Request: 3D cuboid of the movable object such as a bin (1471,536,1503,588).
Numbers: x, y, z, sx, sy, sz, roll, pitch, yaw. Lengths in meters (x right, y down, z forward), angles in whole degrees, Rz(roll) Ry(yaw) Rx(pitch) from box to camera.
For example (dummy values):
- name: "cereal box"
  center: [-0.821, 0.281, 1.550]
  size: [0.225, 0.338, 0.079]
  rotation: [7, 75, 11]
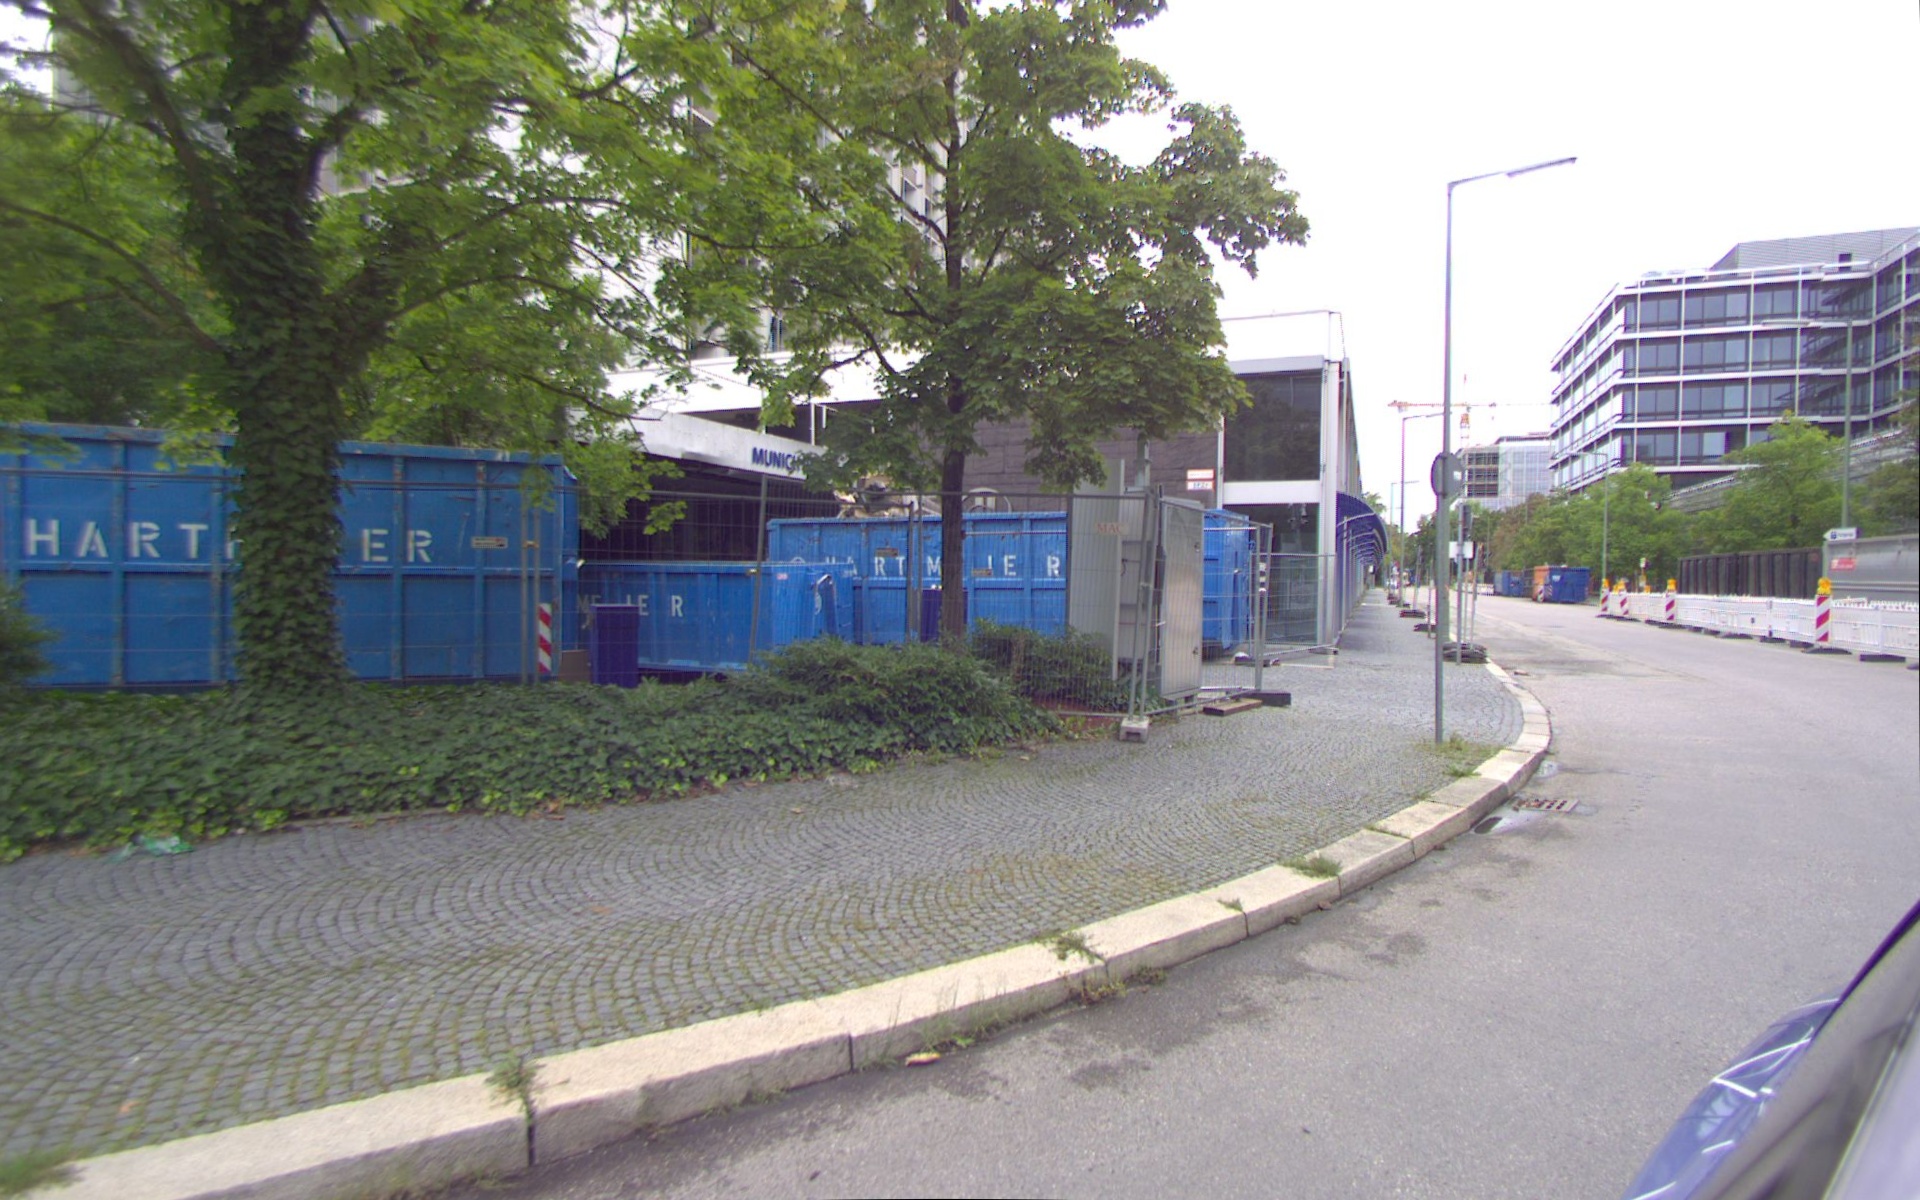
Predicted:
- name: "movable object such as a bin"
  center: [68.217, -4.877, 131.159]
  size: [3.211, 6.400, 8.266]
  rotation: [1, 2, 25]

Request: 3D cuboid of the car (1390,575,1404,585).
- name: "car"
  center: [68.705, -3.147, 159.141]
  size: [1.894, 1.657, 3.967]
  rotation: [1, 2, 24]

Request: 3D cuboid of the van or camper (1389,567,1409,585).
- name: "van or camper"
  center: [71.437, -3.866, 164.737]
  size: [2.642, 2.801, 6.854]
  rotation: [1, 2, 26]
